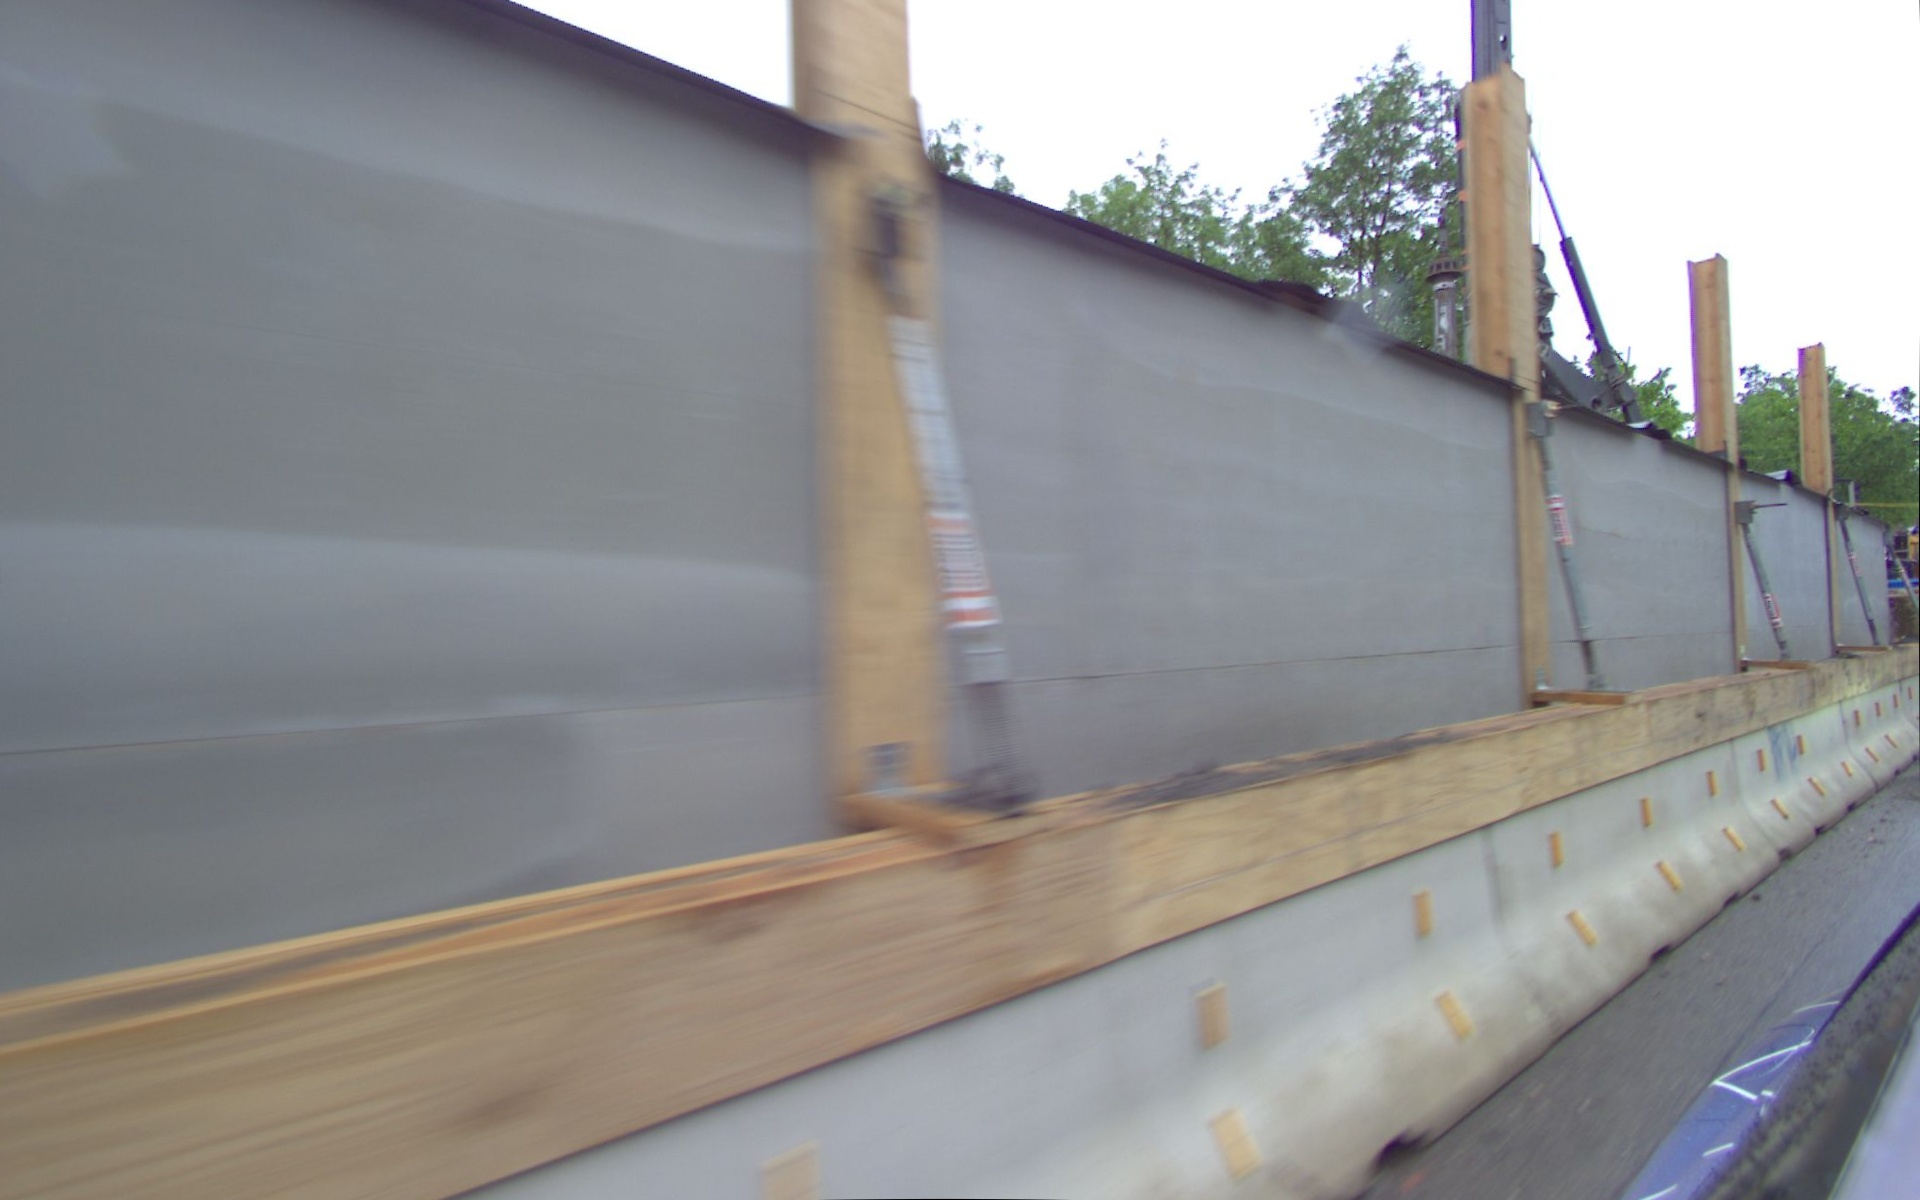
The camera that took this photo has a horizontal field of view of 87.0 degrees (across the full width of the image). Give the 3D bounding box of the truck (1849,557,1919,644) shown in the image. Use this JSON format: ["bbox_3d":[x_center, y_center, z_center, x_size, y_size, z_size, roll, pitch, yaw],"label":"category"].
[{"bbox_3d":[24.712,-0.009,25.844,3.247,2.135,2.555,-1,0,-41],"label":"truck"}]

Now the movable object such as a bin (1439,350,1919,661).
[{"bbox_3d":[13.521,-1.642,19.254,7.013,5.131,3.701,-1,-1,-12],"label":"movable object such as a bin"}]
